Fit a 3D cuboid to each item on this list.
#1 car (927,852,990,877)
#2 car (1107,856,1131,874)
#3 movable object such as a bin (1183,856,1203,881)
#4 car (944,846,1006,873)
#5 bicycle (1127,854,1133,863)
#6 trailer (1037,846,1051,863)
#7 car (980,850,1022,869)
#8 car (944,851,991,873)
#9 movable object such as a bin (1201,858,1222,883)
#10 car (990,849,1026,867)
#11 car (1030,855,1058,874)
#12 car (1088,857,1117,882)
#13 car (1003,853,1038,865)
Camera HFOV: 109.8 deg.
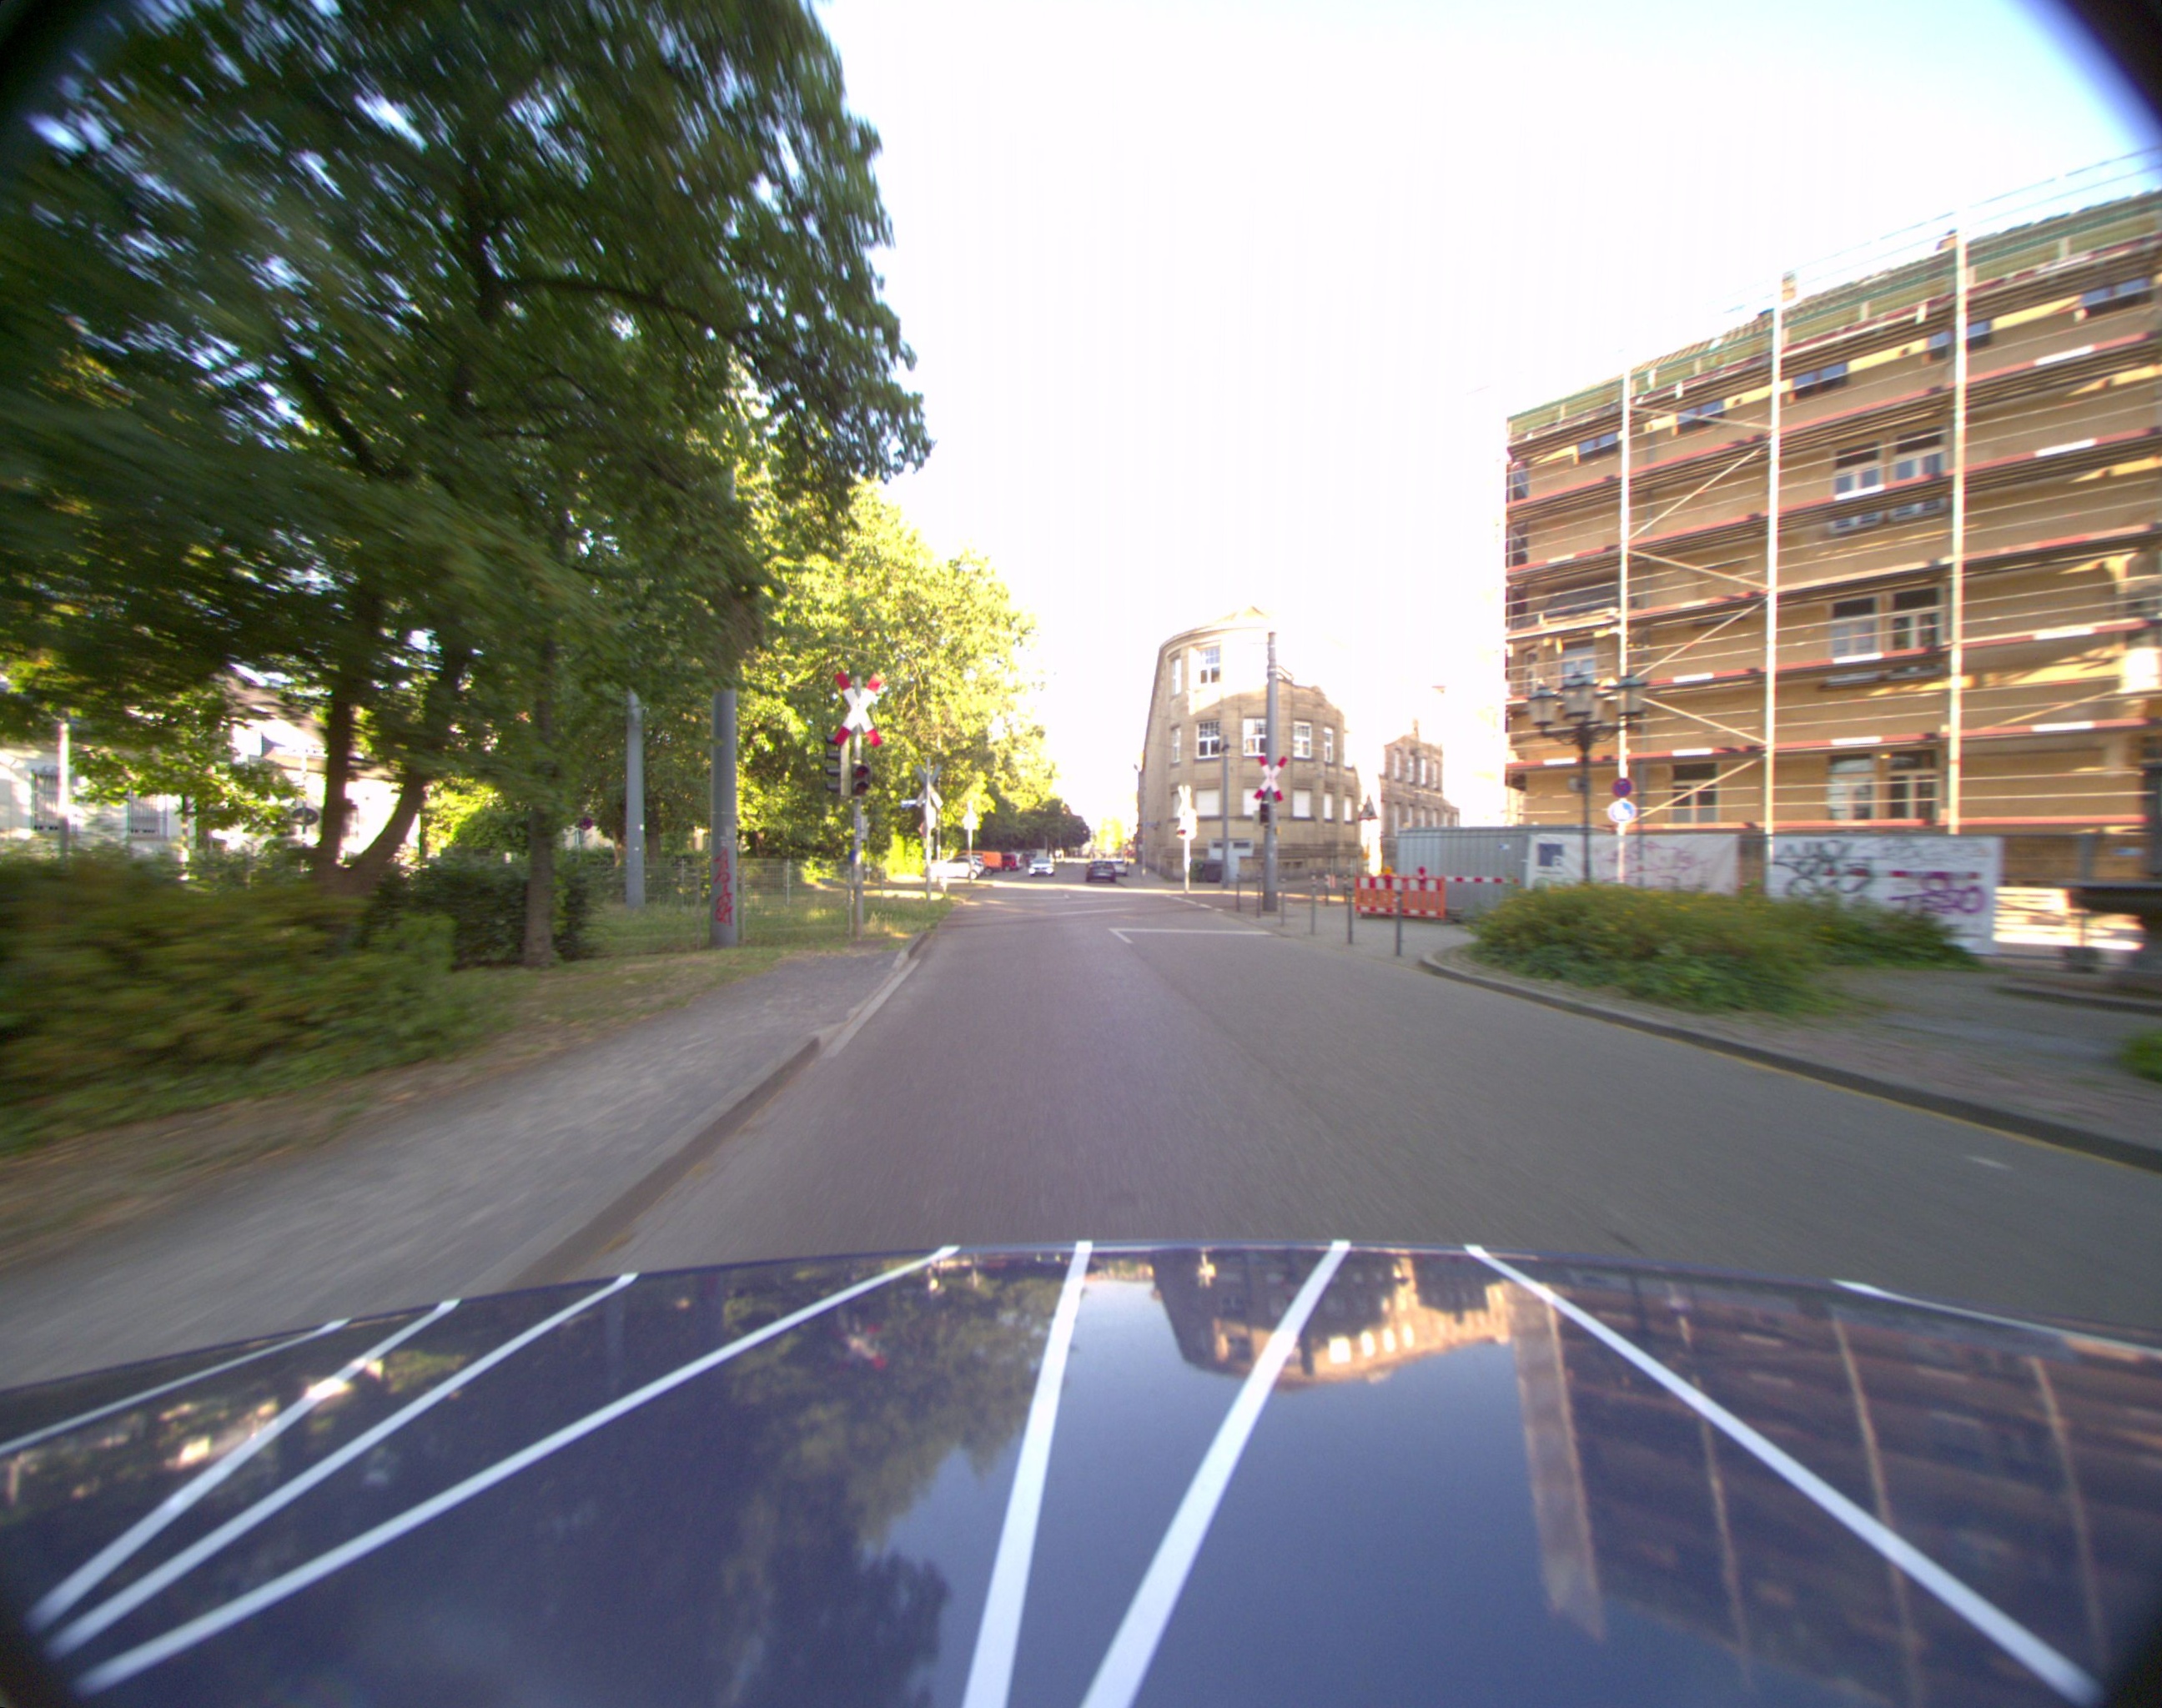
[{"bbox_3d":[-8.273,0.707,51.459,3.998,1.538,1.734,2,0,-3],"label":"car"},{"bbox_3d":[3.212,0.914,64.430,1.748,1.426,4.560,-1,0,-1],"label":"car"},{"bbox_3d":[6.728,0.865,45.477,1.148,1.477,1.629,0,0,10],"label":"movable object such as a bin"},{"bbox_3d":[-8.609,0.462,62.198,4.809,1.986,2.080,2,0,-3],"label":"car"},{"bbox_3d":[6.976,0.625,108.103,0.457,1.202,1.879,1,0,12],"label":"bicycle"},{"bbox_3d":[-5.533,0.057,114.042,1.600,2.625,3.703,0,0,4],"label":"trailer"},{"bbox_3d":[-8.251,0.567,78.965,3.979,1.852,1.920,2,1,6],"label":"car"},{"bbox_3d":[-8.867,0.619,59.540,3.404,1.622,1.679,2,0,1],"label":"car"},{"bbox_3d":[7.618,0.945,44.353,1.184,1.420,1.923,0,0,10],"label":"movable object such as a bin"},{"bbox_3d":[-7.805,0.423,81.533,3.609,1.873,1.784,2,1,5],"label":"car"},{"bbox_3d":[-3.028,0.849,62.275,1.687,1.445,4.104,0,0,6],"label":"car"},{"bbox_3d":[1.303,0.928,47.228,1.748,1.439,4.208,0,0,1],"label":"car"},{"bbox_3d":[-8.151,0.660,102.660,4.441,1.458,1.711,0,0,4],"label":"car"}]
